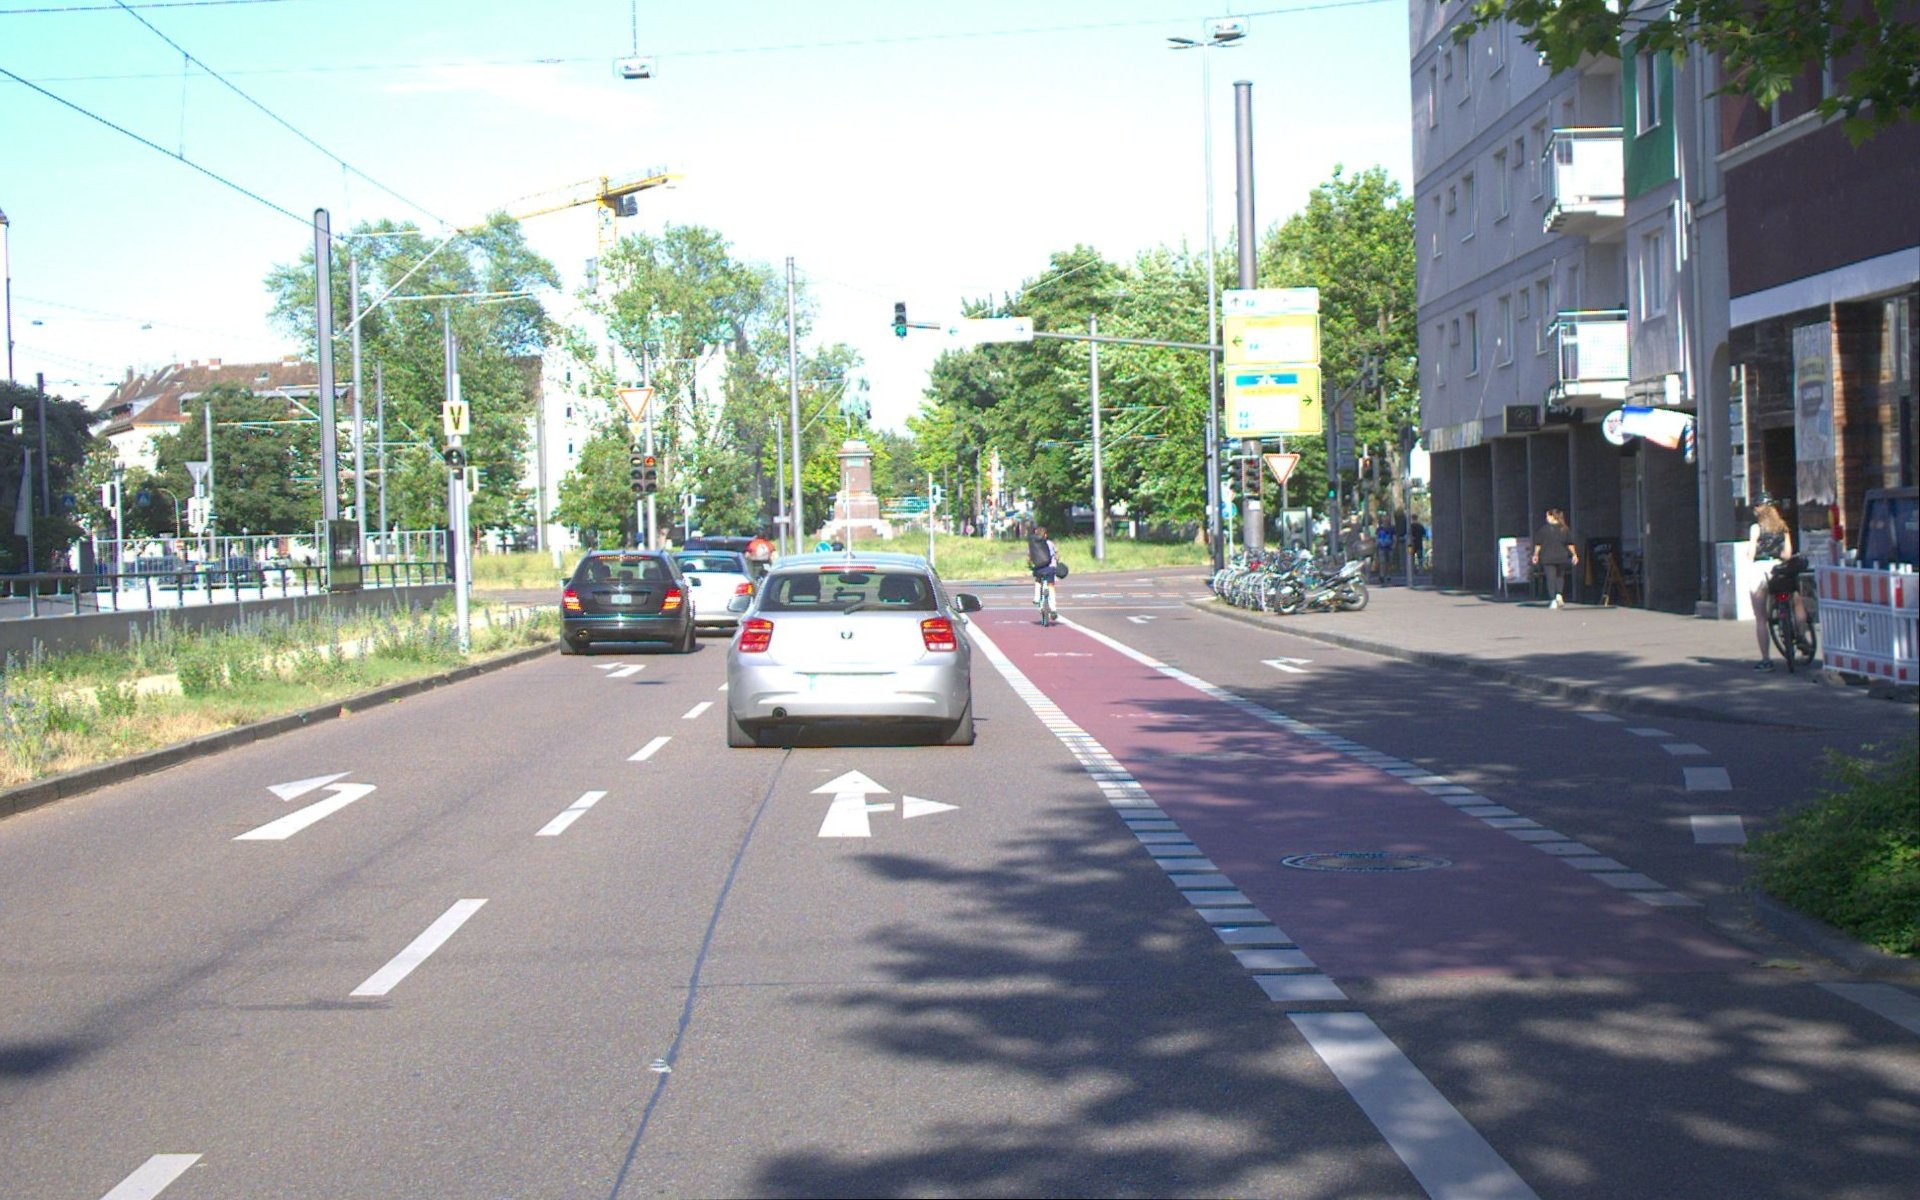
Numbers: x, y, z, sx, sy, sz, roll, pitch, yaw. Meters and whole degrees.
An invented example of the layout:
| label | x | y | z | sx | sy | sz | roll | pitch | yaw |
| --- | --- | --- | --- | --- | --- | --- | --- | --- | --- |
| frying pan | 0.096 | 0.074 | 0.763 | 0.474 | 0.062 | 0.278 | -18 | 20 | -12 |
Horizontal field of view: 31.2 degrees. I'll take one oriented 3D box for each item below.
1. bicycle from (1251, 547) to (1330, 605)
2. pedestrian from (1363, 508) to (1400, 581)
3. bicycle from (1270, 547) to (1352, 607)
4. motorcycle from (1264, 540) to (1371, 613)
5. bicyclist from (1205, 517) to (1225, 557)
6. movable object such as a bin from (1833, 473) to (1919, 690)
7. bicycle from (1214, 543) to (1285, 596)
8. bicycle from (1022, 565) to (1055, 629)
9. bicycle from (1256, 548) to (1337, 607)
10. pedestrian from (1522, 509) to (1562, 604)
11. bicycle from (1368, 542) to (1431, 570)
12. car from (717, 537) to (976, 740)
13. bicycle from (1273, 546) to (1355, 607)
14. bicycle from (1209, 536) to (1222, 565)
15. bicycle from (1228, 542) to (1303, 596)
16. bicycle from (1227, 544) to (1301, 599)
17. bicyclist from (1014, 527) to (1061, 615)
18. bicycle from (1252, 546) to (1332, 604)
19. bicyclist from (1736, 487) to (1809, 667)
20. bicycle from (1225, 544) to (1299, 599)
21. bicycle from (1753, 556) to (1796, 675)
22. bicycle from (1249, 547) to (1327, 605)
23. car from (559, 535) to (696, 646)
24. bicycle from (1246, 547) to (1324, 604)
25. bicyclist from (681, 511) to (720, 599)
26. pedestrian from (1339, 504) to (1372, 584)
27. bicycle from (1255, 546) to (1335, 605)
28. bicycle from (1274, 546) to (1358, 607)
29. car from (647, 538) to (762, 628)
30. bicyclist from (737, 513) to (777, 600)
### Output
| label | x | y | z | sx | sy | sz | roll | pitch | yaw |
| --- | --- | --- | --- | --- | --- | --- | --- | --- | --- |
| bicycle | 6.358 | -0.457 | 66.083 | 1.465 | 1.063 | 0.257 | -2 | 0 | 1 |
| pedestrian | 10.778 | -1.431 | 87.944 | 0.826 | 1.850 | 0.916 | 1 | 1 | 14 |
| bicycle | 6.536 | -0.437 | 64.039 | 1.465 | 1.063 | 0.257 | -2 | 0 | 1 |
| motorcycle | 6.382 | -0.419 | 61.447 | 1.855 | 1.296 | 0.652 | 0 | 1 | 2 |
| bicyclist | 8.691 | -2.145 | 117.117 | 0.616 | 1.375 | 0.686 | 1 | 1 | 1 |
| movable object such as a bin | 9.100 | -0.184 | 29.551 | 1.945 | 1.837 | 3.481 | -2 | 2 | -7 |
| bicycle | 6.169 | -0.652 | 73.343 | 1.465 | 1.063 | 0.257 | -2 | 0 | 1 |
| bicycle | 1.376 | -0.067 | 60.406 | 0.499 | 1.085 | 1.997 | 1 | 1 | -1 |
| bicycle | 6.309 | -0.423 | 64.539 | 1.465 | 1.063 | 0.257 | -2 | 0 | 1 |
| pedestrian | 9.698 | -0.721 | 57.281 | 0.573 | 1.577 | 0.556 | 0 | 1 | -1 |
| bicycle | 16.698 | -1.684 | 130.563 | 2.320 | 1.064 | 0.555 | 0 | 1 | 22 |
| car | -0.844 | 0.230 | 25.988 | 1.798 | 1.410 | 4.000 | 0 | 1 | -2 |
| bicycle | 6.516 | -0.427 | 63.290 | 1.465 | 1.063 | 0.257 | -2 | 0 | 1 |
| bicycle | 8.709 | -1.690 | 117.170 | 0.352 | 0.955 | 1.573 | 1 | 1 | 0 |
| bicycle | 6.228 | -0.632 | 70.122 | 1.465 | 1.063 | 0.257 | -2 | 0 | 1 |
| bicycle | 6.234 | -0.586 | 70.444 | 1.465 | 1.063 | 0.257 | -2 | 0 | 1 |
| bicyclist | 1.363 | -0.513 | 60.448 | 0.785 | 1.526 | 0.895 | 1 | 1 | -1 |
| bicycle | 6.347 | -0.476 | 65.739 | 1.465 | 1.063 | 0.257 | -2 | 0 | 1 |
| bicyclist | 7.695 | -0.223 | 32.562 | 0.601 | 1.684 | 0.597 | -1 | 1 | 10 |
| bicycle | 6.217 | -0.585 | 70.770 | 1.465 | 1.063 | 0.257 | -2 | 0 | 1 |
| bicycle | 7.727 | 0.134 | 32.635 | 0.317 | 1.081 | 1.684 | -1 | 1 | 11 |
| bicycle | 6.371 | -0.471 | 66.784 | 1.465 | 1.063 | 0.257 | -2 | 0 | 1 |
| car | -4.597 | -0.160 | 47.991 | 1.726 | 1.465 | 4.411 | -1 | 1 | -3 |
| bicycle | 6.341 | -0.486 | 67.129 | 1.465 | 1.063 | 0.257 | -2 | 0 | 1 |
| bicyclist | -4.653 | -0.806 | 61.679 | 0.616 | 1.566 | 0.686 | 1 | 1 | 1 |
| pedestrian | 9.955 | -1.418 | 86.602 | 0.791 | 2.007 | 0.870 | 1 | 1 | 6 |
| bicycle | 6.364 | -0.465 | 65.366 | 1.465 | 1.063 | 0.257 | -2 | 0 | 1 |
| bicycle | 6.514 | -0.429 | 62.918 | 1.465 | 1.063 | 0.257 | -2 | 0 | 1 |
| car | -4.139 | -0.303 | 56.205 | 1.644 | 1.416 | 4.000 | 0 | 1 | -1 |
| bicyclist | -3.653 | -0.786 | 61.911 | 0.616 | 1.566 | 0.686 | 0 | 1 | -12 |
